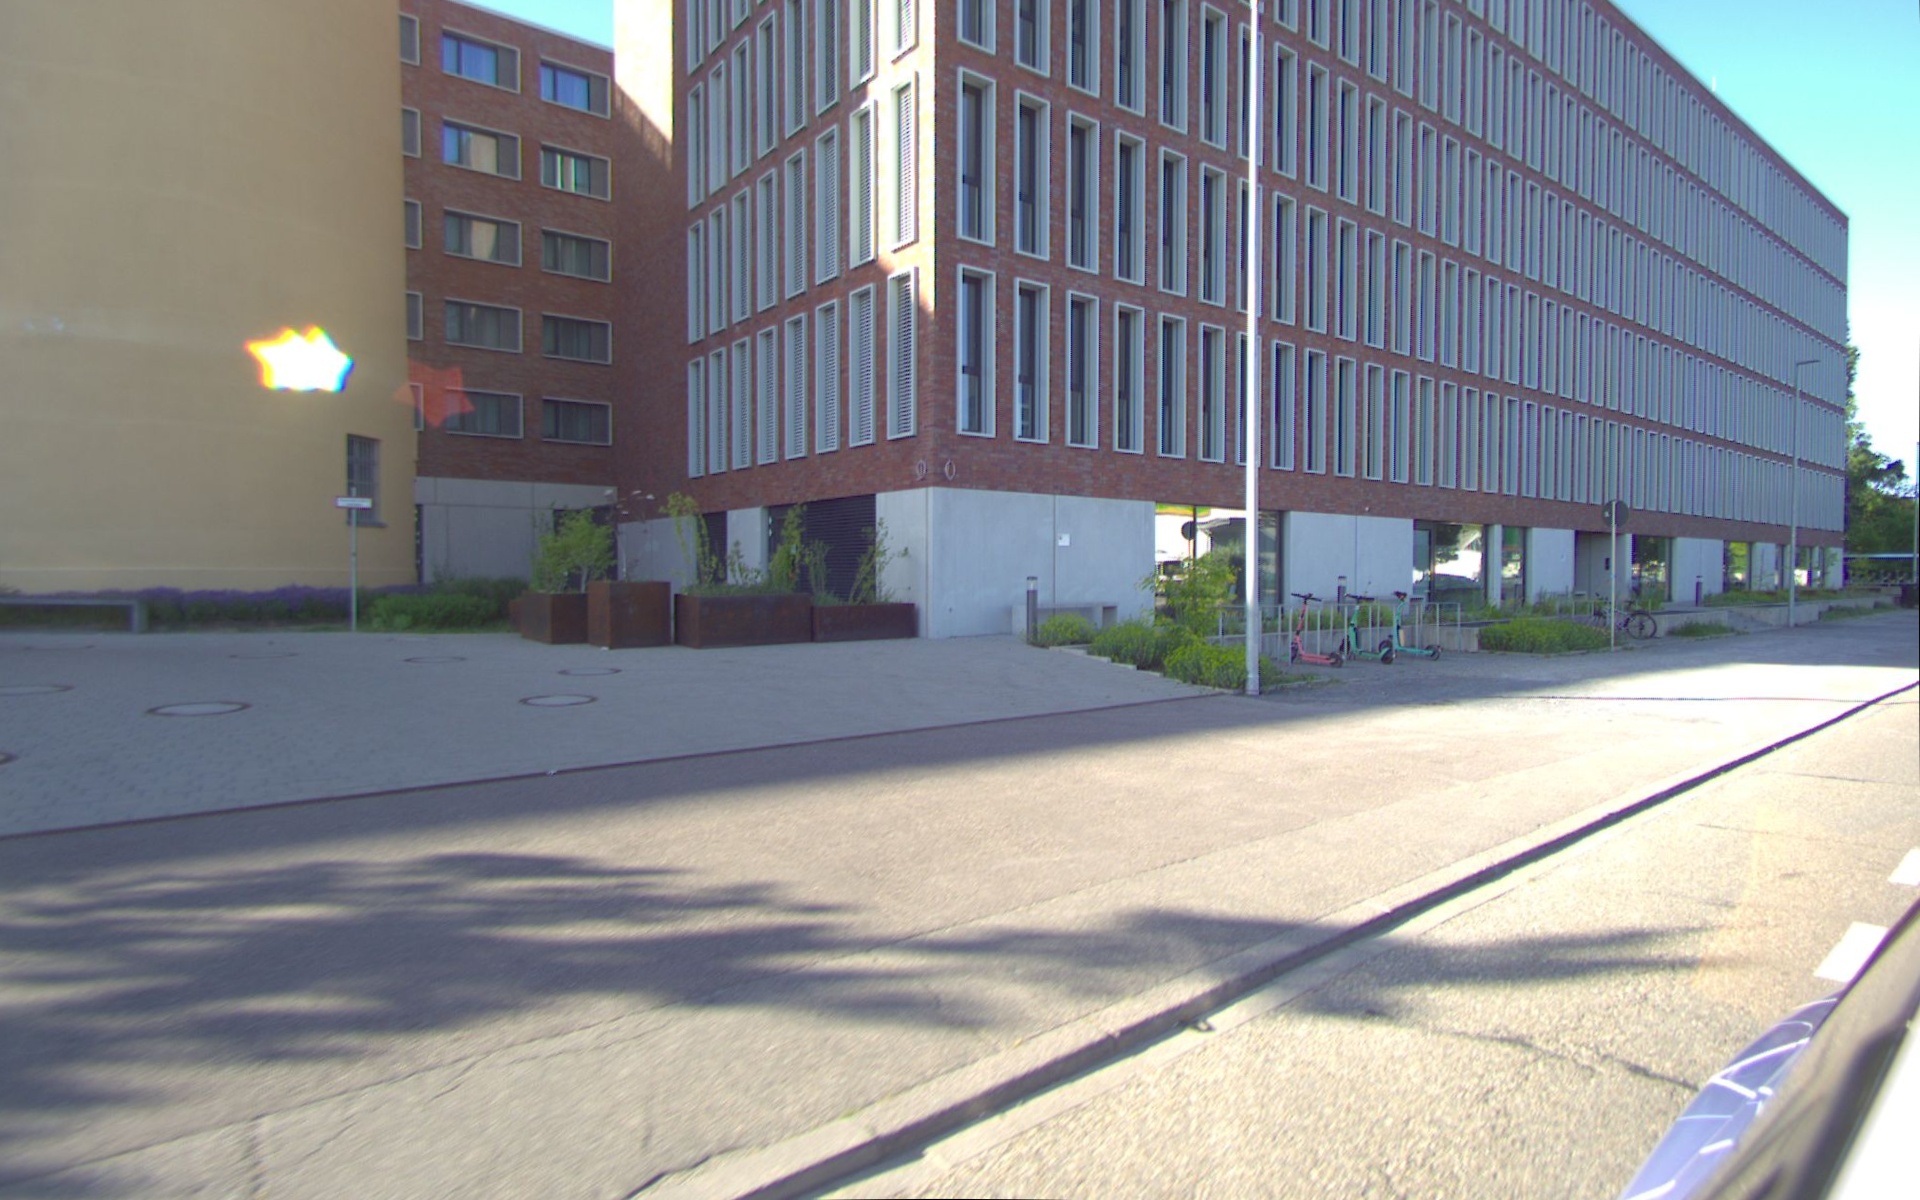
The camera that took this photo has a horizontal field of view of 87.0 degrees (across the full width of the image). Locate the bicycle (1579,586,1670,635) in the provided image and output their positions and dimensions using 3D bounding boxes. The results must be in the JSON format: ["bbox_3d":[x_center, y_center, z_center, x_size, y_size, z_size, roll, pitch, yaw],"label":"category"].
[{"bbox_3d":[17.228,0.255,26.278,1.932,1.184,0.369,3,3,45],"label":"bicycle"}]

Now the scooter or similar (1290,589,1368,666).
[{"bbox_3d":[6.128,0.435,16.869,0.334,1.210,1.247,0,1,-35],"label":"scooter or similar"}]

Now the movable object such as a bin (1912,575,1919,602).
[{"bbox_3d":[48.761,-0.578,50.902,1.322,1.352,1.130,-1,2,-41],"label":"movable object such as a bin"}]

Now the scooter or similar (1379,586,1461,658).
[{"bbox_3d":[8.484,0.385,18.708,0.416,1.260,1.345,0,1,-35],"label":"scooter or similar"}]

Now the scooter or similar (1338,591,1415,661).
[{"bbox_3d":[7.280,0.431,17.731,0.359,1.170,1.247,0,1,-35],"label":"scooter or similar"}]
